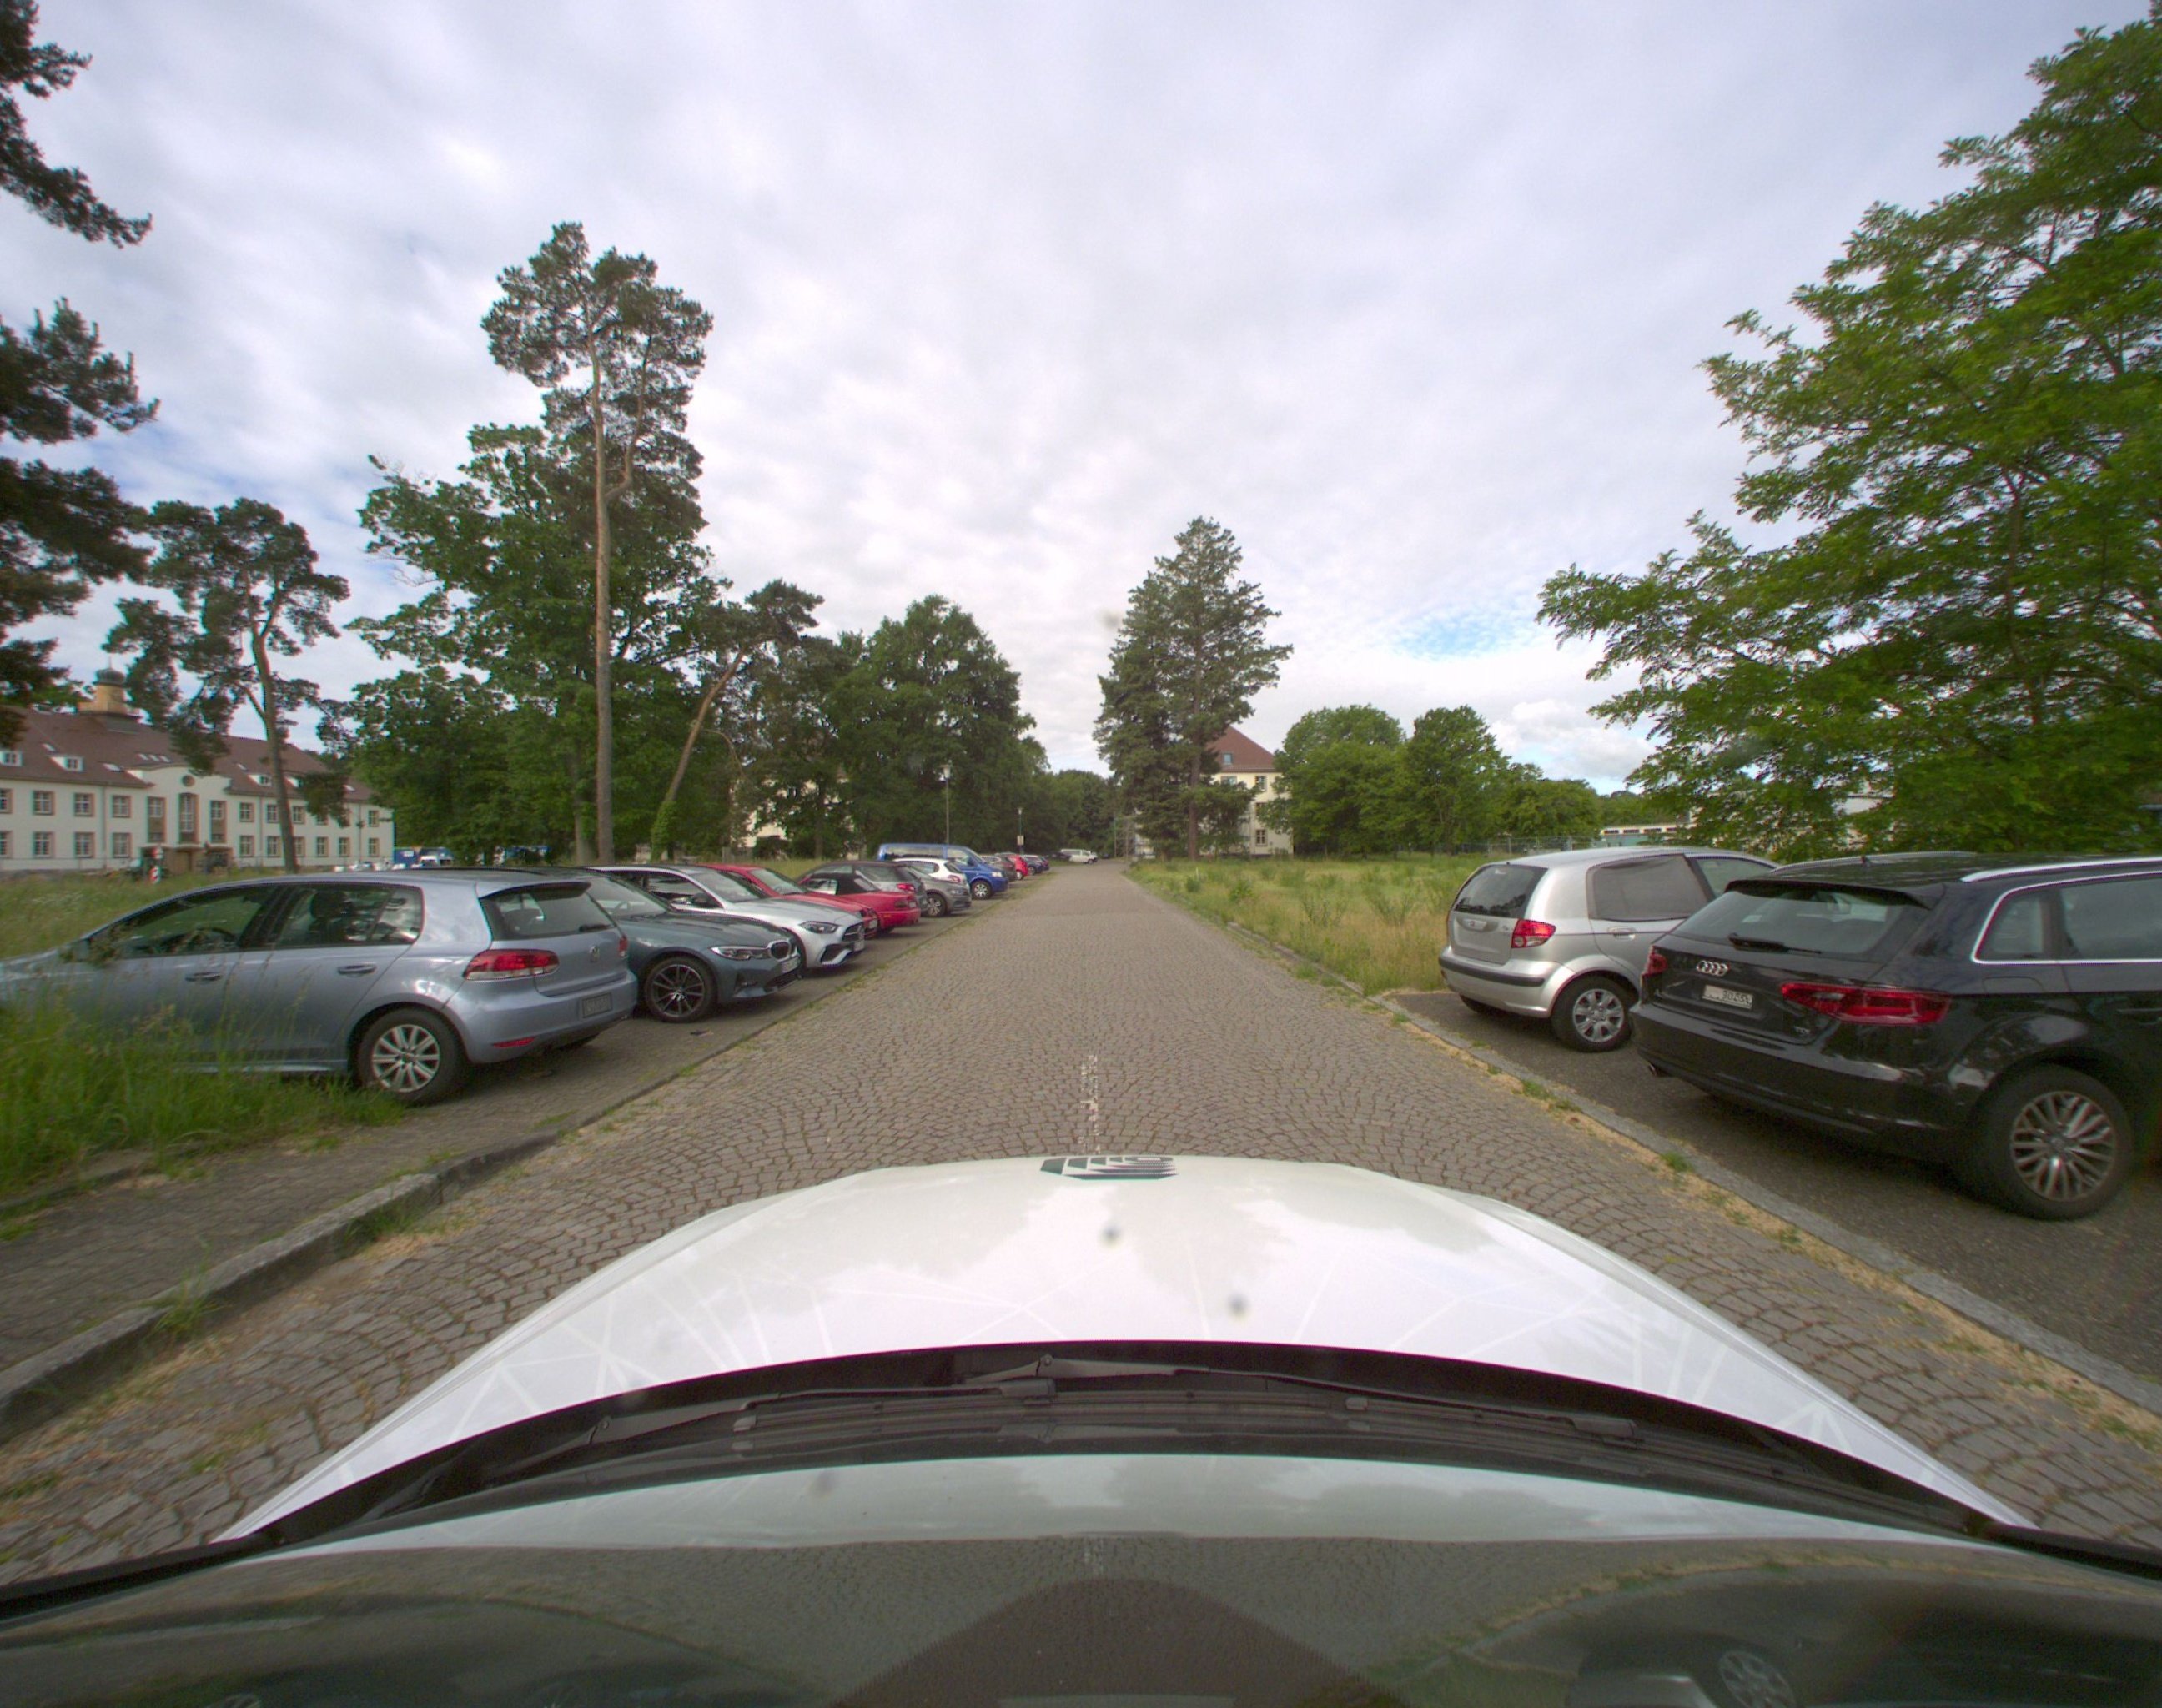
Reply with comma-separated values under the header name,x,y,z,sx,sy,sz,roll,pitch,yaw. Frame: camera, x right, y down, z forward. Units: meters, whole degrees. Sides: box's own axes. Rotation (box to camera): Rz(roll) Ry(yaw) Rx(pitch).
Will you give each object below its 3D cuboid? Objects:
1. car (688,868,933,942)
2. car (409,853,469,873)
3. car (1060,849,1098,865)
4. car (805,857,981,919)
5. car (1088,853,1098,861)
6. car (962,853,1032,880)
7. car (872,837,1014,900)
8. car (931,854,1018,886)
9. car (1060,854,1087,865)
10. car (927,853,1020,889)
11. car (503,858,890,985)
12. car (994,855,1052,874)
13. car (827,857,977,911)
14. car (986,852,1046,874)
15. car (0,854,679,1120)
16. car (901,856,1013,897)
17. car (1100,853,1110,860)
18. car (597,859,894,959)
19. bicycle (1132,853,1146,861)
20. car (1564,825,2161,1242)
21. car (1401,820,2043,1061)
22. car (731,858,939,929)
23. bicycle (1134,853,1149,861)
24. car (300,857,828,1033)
name,x,y,z,sx,sy,sz,roll,pitch,yaw
car,-5.173,0.965,15.989,4.151,1.266,1.832,-1,0,1
car,-67.542,0.972,85.809,1.985,2.014,5.234,-1,-1,3
car,-0.265,0.446,112.765,5.221,2.168,1.998,-1,0,-2
car,-4.863,0.855,21.462,4.150,1.491,1.865,-1,0,1
car,2.665,0.648,178.766,2.112,1.521,3.998,-1,0,-1
car,-4.996,0.754,48.959,4.043,1.525,1.904,-1,0,-2
car,-4.936,0.508,29.708,4.767,2.122,2.114,-1,0,-1
car,-5.343,0.802,41.327,4.154,1.510,1.906,-1,0,-1
car,-1.097,0.771,115.353,3.780,1.395,1.998,-1,0,-3
car,-5.032,0.777,38.588,4.156,1.622,1.985,-1,0,-3
car,-5.041,0.844,11.214,4.362,1.507,1.934,-1,0,-2
car,-4.522,0.822,63.930,4.287,1.461,1.976,0,0,1
car,-5.282,0.876,24.413,4.053,1.497,1.846,-1,0,1
car,-4.684,0.623,59.237,4.216,1.577,1.886,0,0,-2
car,-5.369,0.802,5.845,3.975,1.543,1.904,-1,0,-1
car,-4.857,0.856,32.296,4.155,1.510,1.780,-1,0,-2
car,5.337,0.600,179.072,1.945,1.521,3.998,-1,0,-1
car,-5.436,0.859,13.616,4.153,1.476,1.864,-1,0,-1
bicycle,9.317,0.467,130.014,2.231,1.254,0.778,-1,0,2
car,5.098,0.661,4.214,4.063,1.453,1.884,-4,0,-2
car,5.129,0.621,6.923,4.063,1.515,1.803,-4,0,-2
car,-5.516,0.860,18.644,4.151,1.482,1.846,-1,0,1
bicycle,9.333,0.427,125.758,2.231,1.254,0.778,-1,0,2
car,-5.083,0.836,8.577,4.241,1.548,1.933,-1,0,-4
